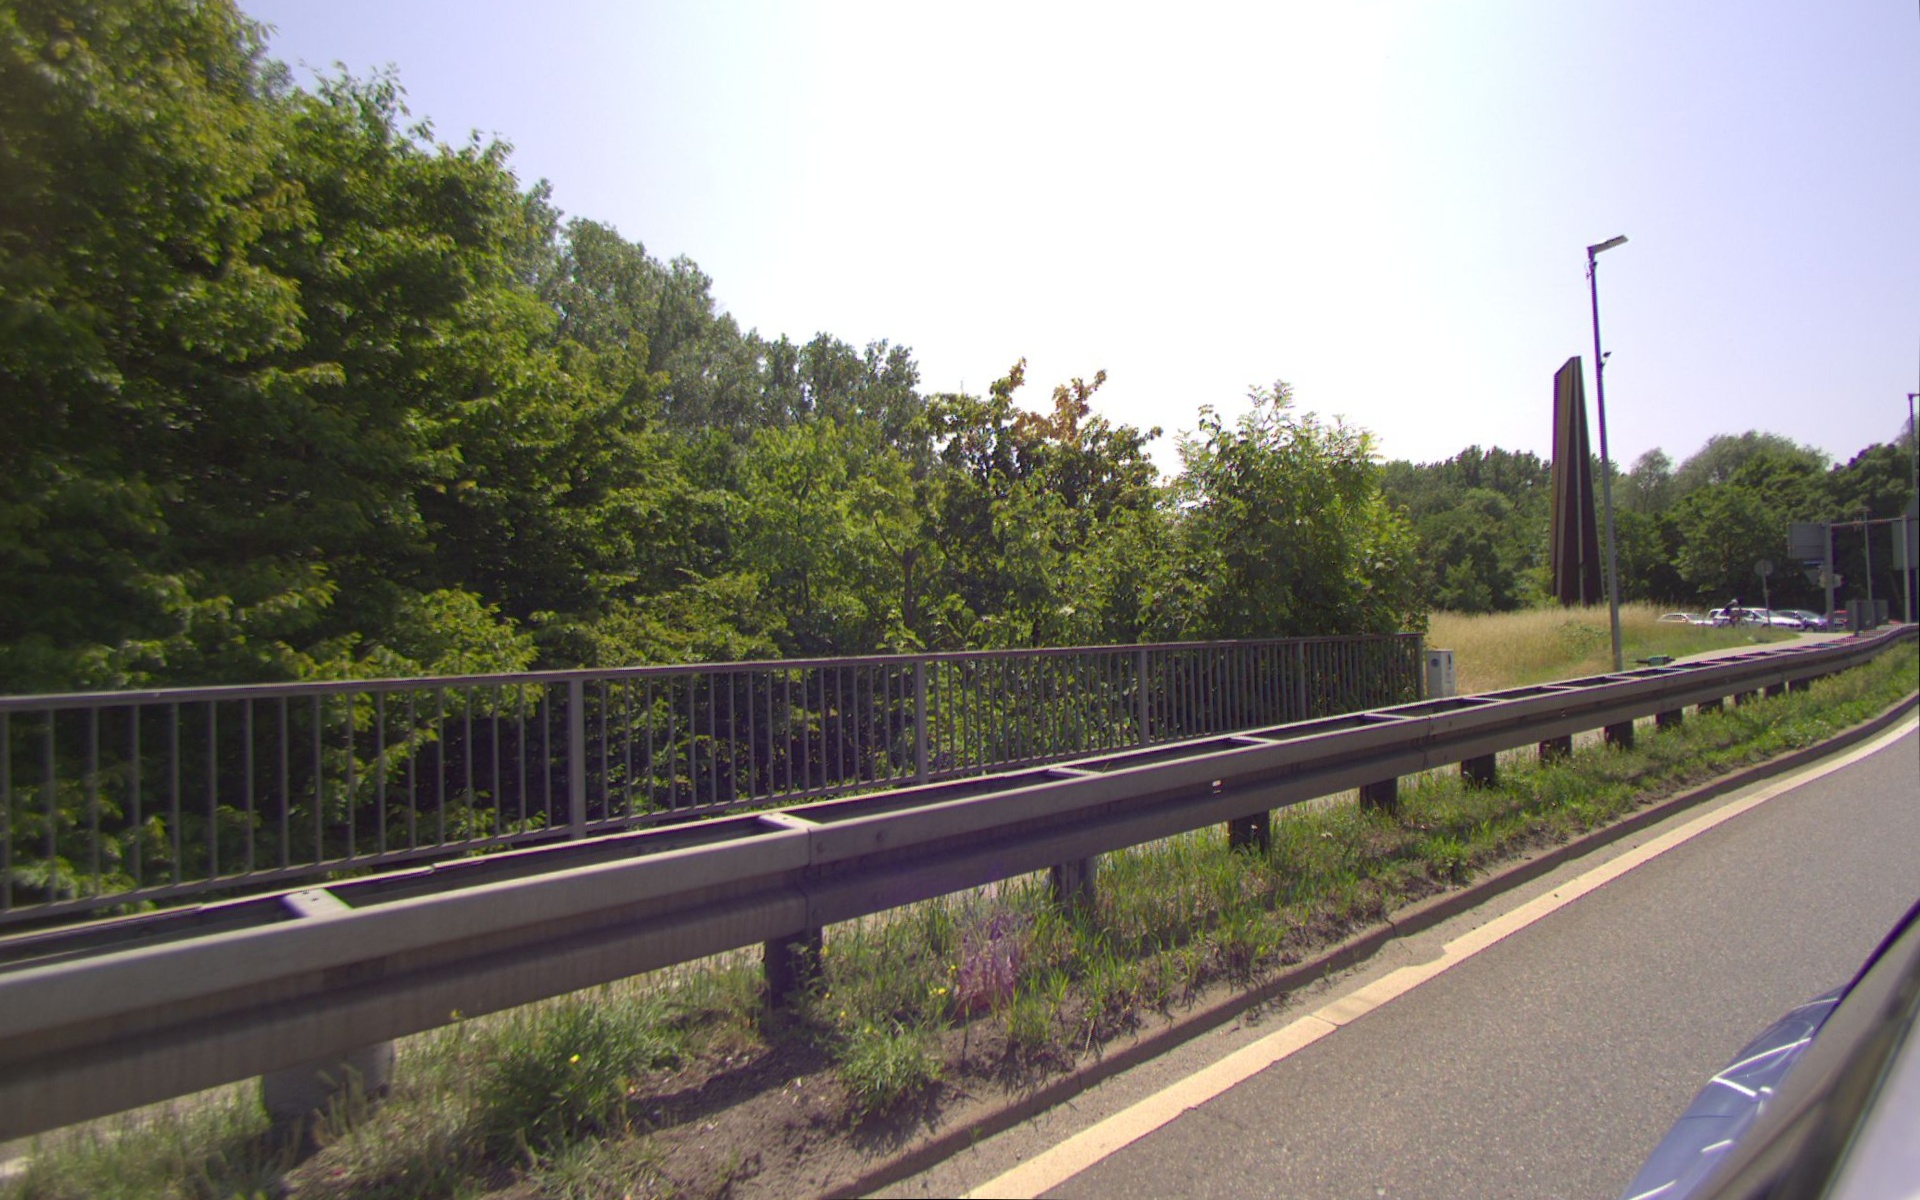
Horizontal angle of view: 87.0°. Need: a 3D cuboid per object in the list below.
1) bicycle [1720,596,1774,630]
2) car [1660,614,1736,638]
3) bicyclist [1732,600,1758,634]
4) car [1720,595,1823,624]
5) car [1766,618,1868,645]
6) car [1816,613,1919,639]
[{"bbox_3d":[37.396,0.612,48.135,0.644,1.594,2.375,0,-1,-2],"label":"bicycle"},{"bbox_3d":[46.551,1.616,63.962,1.550,1.448,4.004,0,-1,-6],"label":"car"},{"bbox_3d":[37.399,0.804,48.219,0.658,1.619,0.691,0,-1,-2],"label":"bicyclist"},{"bbox_3d":[44.259,0.539,55.318,1.830,1.525,4.301,0,-1,-6],"label":"car"},{"bbox_3d":[47.863,1.725,56.618,1.830,1.442,4.190,0,-1,-6],"label":"car"},{"bbox_3d":[50.789,1.441,56.740,1.719,1.372,4.190,0,-1,-6],"label":"car"}]
